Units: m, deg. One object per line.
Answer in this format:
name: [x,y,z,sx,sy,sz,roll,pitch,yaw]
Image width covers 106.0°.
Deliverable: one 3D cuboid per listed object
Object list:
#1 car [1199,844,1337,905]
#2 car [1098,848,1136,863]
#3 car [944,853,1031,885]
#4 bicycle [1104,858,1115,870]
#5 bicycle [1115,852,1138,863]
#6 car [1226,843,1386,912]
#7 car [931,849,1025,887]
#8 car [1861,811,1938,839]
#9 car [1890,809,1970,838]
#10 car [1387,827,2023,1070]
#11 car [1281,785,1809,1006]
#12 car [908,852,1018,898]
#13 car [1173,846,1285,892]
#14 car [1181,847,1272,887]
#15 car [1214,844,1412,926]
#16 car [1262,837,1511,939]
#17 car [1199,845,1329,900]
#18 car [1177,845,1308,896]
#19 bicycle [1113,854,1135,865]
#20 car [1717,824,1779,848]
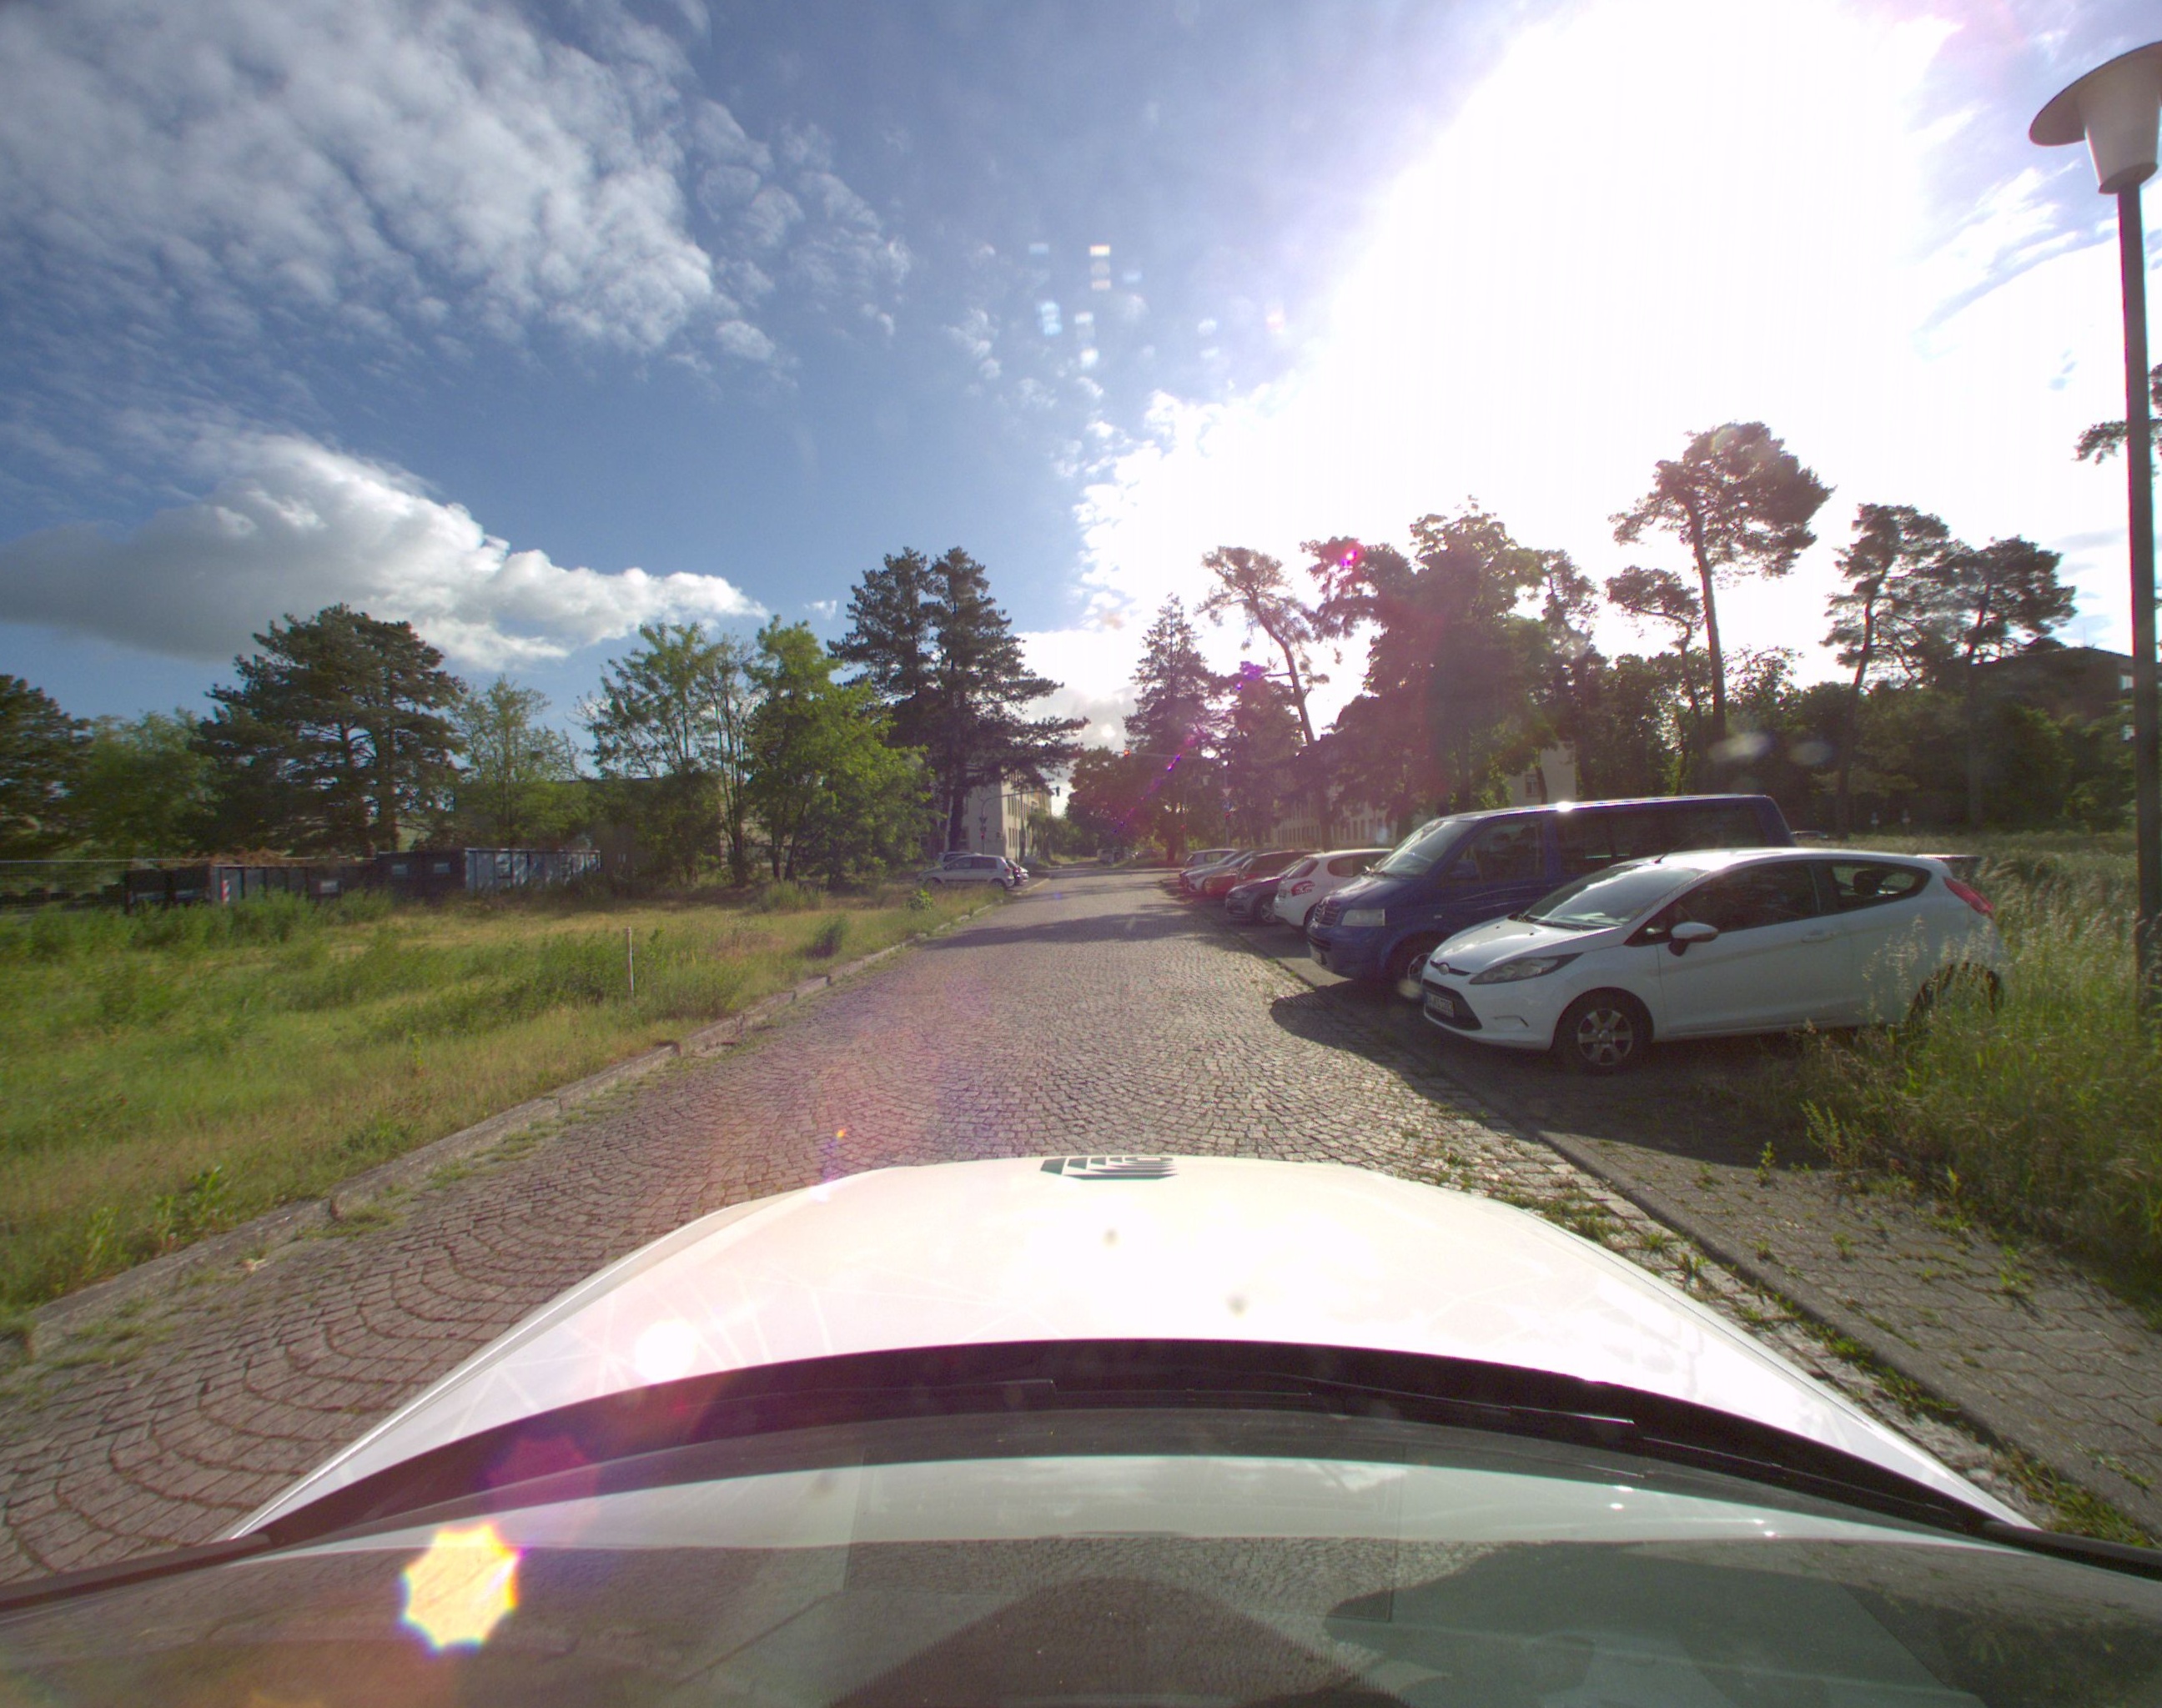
car: [5.150,0.552,22.720,3.466,1.529,1.645,-2,0,0]
car: [4.377,0.125,99.209,4.464,1.728,2.000,-1,0,1]
car: [-4.542,0.726,39.921,3.973,1.453,2.001,1,0,1]
bicycle: [2.705,0.954,78.299,0.803,1.169,2.177,-3,0,-4]
bicycle: [4.619,0.371,82.804,2.172,1.100,0.805,-1,0,-8]
car: [5.441,0.555,20.020,3.466,1.529,1.645,-2,0,0]
car: [-4.694,0.637,37.522,3.973,1.601,2.001,2,0,1]
car: [64.249,-2.295,63.990,3.972,2.013,2.001,-2,0,1]
car: [64.451,-2.302,61.866,3.972,2.013,2.001,-2,0,1]
car: [4.575,0.632,6.368,3.708,1.488,1.645,-2,0,-1]
car: [4.824,0.392,9.023,4.664,2.013,2.082,-2,0,-2]
car: [-4.589,0.795,32.127,3.975,1.600,1.999,-2,0,-1]
car: [5.397,0.544,30.031,3.823,1.529,1.645,-2,0,0]
car: [5.786,0.500,32.664,3.332,1.482,1.645,-2,0,0]
car: [4.779,0.615,17.114,3.663,1.467,1.645,-3,0,0]
car: [5.198,0.564,14.215,3.679,1.465,1.646,-4,0,2]
car: [5.571,0.532,25.070,3.591,1.529,1.645,-2,0,0]
car: [5.356,0.531,27.259,4.024,1.529,1.644,-2,0,-2]
bicycle: [4.306,0.531,81.726,2.172,1.100,0.805,-1,0,-8]
car: [60.377,-1.635,73.784,3.972,2.013,2.001,-2,0,1]
